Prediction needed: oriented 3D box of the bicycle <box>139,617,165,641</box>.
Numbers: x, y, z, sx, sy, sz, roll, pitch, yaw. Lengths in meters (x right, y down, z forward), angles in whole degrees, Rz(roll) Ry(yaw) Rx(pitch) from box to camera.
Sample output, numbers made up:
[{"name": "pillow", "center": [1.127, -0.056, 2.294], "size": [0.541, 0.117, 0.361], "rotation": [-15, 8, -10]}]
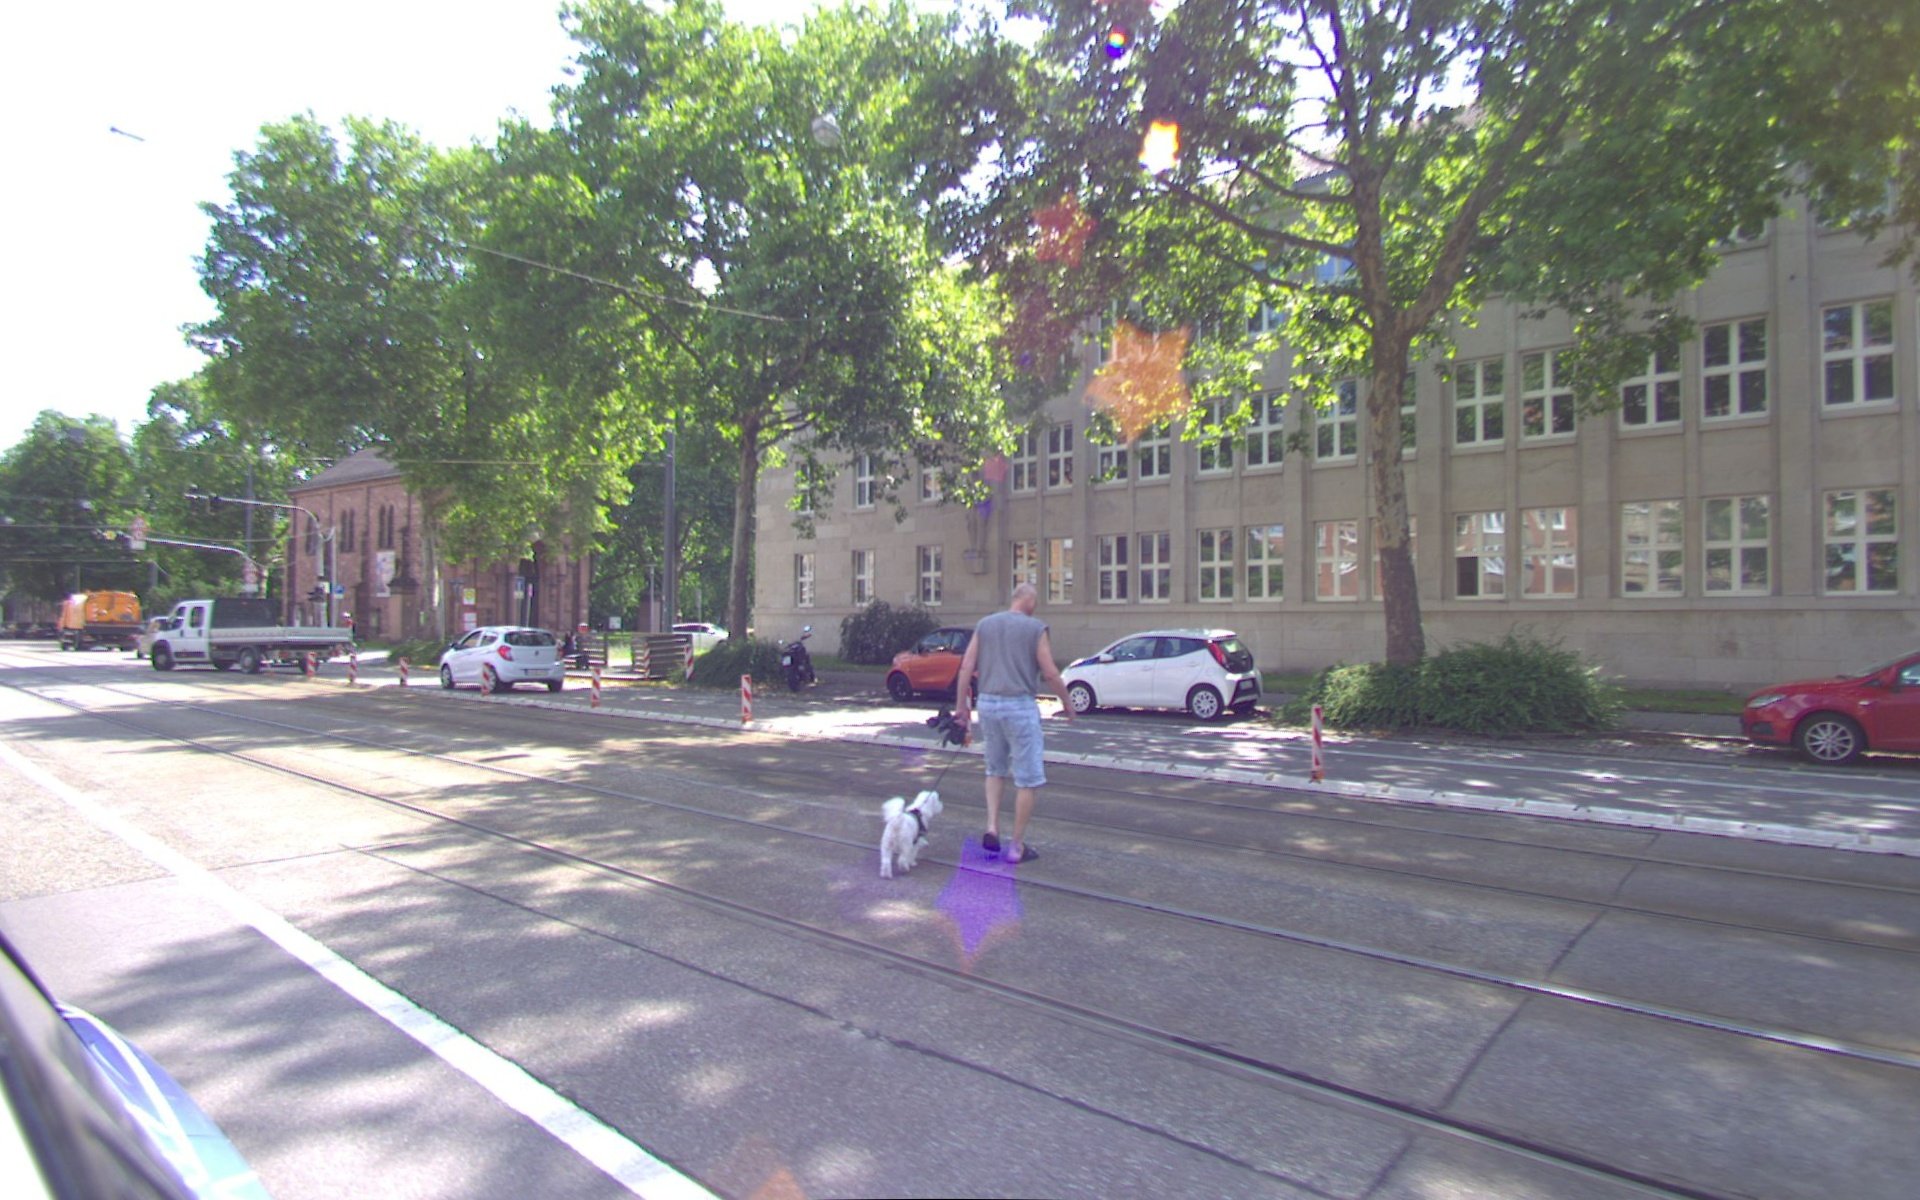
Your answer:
[{"name": "bicycle", "center": [-45.162, 1.590, 56.579], "size": [2.217, 1.300, 0.697], "rotation": [-1, -2, 40]}]

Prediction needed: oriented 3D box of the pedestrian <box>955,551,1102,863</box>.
[{"name": "pedestrian", "center": [0.427, 0.588, 6.069], "size": [0.697, 1.717, 0.778], "rotation": [0, 0, 20]}]

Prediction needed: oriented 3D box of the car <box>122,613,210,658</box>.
[{"name": "car", "center": [-33.425, 1.475, 42.568], "size": [4.533, 1.759, 1.901], "rotation": [0, -4, 40]}]

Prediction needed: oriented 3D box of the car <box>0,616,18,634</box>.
[{"name": "car", "center": [-87.114, 2.274, 91.632], "size": [3.987, 1.508, 1.743], "rotation": [0, 0, 32]}]

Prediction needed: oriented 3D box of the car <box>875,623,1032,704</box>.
[{"name": "car", "center": [-0.156, 1.225, 20.401], "size": [2.879, 1.465, 1.472], "rotation": [-1, 0, 39]}]

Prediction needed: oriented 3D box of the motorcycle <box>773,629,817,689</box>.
[{"name": "motorcycle", "center": [-3.876, 1.368, 23.948], "size": [0.537, 1.184, 2.106], "rotation": [-4, 2, 2]}]

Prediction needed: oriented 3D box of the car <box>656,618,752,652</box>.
[{"name": "car", "center": [-12.908, 1.752, 51.152], "size": [4.362, 1.620, 1.755], "rotation": [1, -1, 11]}]

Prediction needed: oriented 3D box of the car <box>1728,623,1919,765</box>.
[{"name": "car", "center": [10.988, 0.996, 11.041], "size": [4.048, 1.431, 1.906], "rotation": [-1, 0, 41]}]

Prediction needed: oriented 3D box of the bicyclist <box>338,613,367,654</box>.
[{"name": "bicyclist", "center": [-27.196, 1.481, 45.308], "size": [0.660, 1.798, 0.875], "rotation": [0, 1, 33]}]

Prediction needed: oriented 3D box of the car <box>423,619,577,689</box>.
[{"name": "car", "center": [-10.675, 1.226, 23.413], "size": [3.784, 1.491, 1.742], "rotation": [-1, -4, 40]}]

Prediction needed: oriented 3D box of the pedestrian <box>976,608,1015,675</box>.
[{"name": "pedestrian", "center": [0.874, 1.014, 24.881], "size": [0.795, 1.603, 0.548], "rotation": [0, 0, 40]}]

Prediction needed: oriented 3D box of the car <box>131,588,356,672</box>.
[{"name": "car", "center": [-22.103, 0.941, 31.197], "size": [6.933, 2.392, 2.246], "rotation": [0, -3, 22]}]

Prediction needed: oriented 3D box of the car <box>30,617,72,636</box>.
[{"name": "car", "center": [-77.455, 2.255, 86.234], "size": [3.990, 1.508, 1.742], "rotation": [0, 0, 34]}]

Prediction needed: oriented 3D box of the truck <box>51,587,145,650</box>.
[{"name": "truck", "center": [-45.768, 0.968, 53.684], "size": [7.219, 3.130, 2.611], "rotation": [0, -3, 41]}]

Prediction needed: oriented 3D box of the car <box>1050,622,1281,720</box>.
[{"name": "car", "center": [3.491, 1.132, 17.409], "size": [3.487, 1.465, 1.729], "rotation": [-1, 0, 39]}]

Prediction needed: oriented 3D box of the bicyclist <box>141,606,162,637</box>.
[{"name": "bicyclist", "center": [-45.290, 1.211, 56.701], "size": [1.175, 1.699, 0.694], "rotation": [-1, -2, 40]}]

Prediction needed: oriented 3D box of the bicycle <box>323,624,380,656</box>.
[{"name": "bicycle", "center": [-27.209, 1.784, 45.292], "size": [0.670, 1.299, 2.065], "rotation": [0, 1, 33]}]

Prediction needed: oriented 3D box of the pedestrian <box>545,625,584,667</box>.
[{"name": "pedestrian", "center": [-12.434, 1.449, 31.827], "size": [0.913, 1.221, 0.747], "rotation": [0, 4, 43]}]
